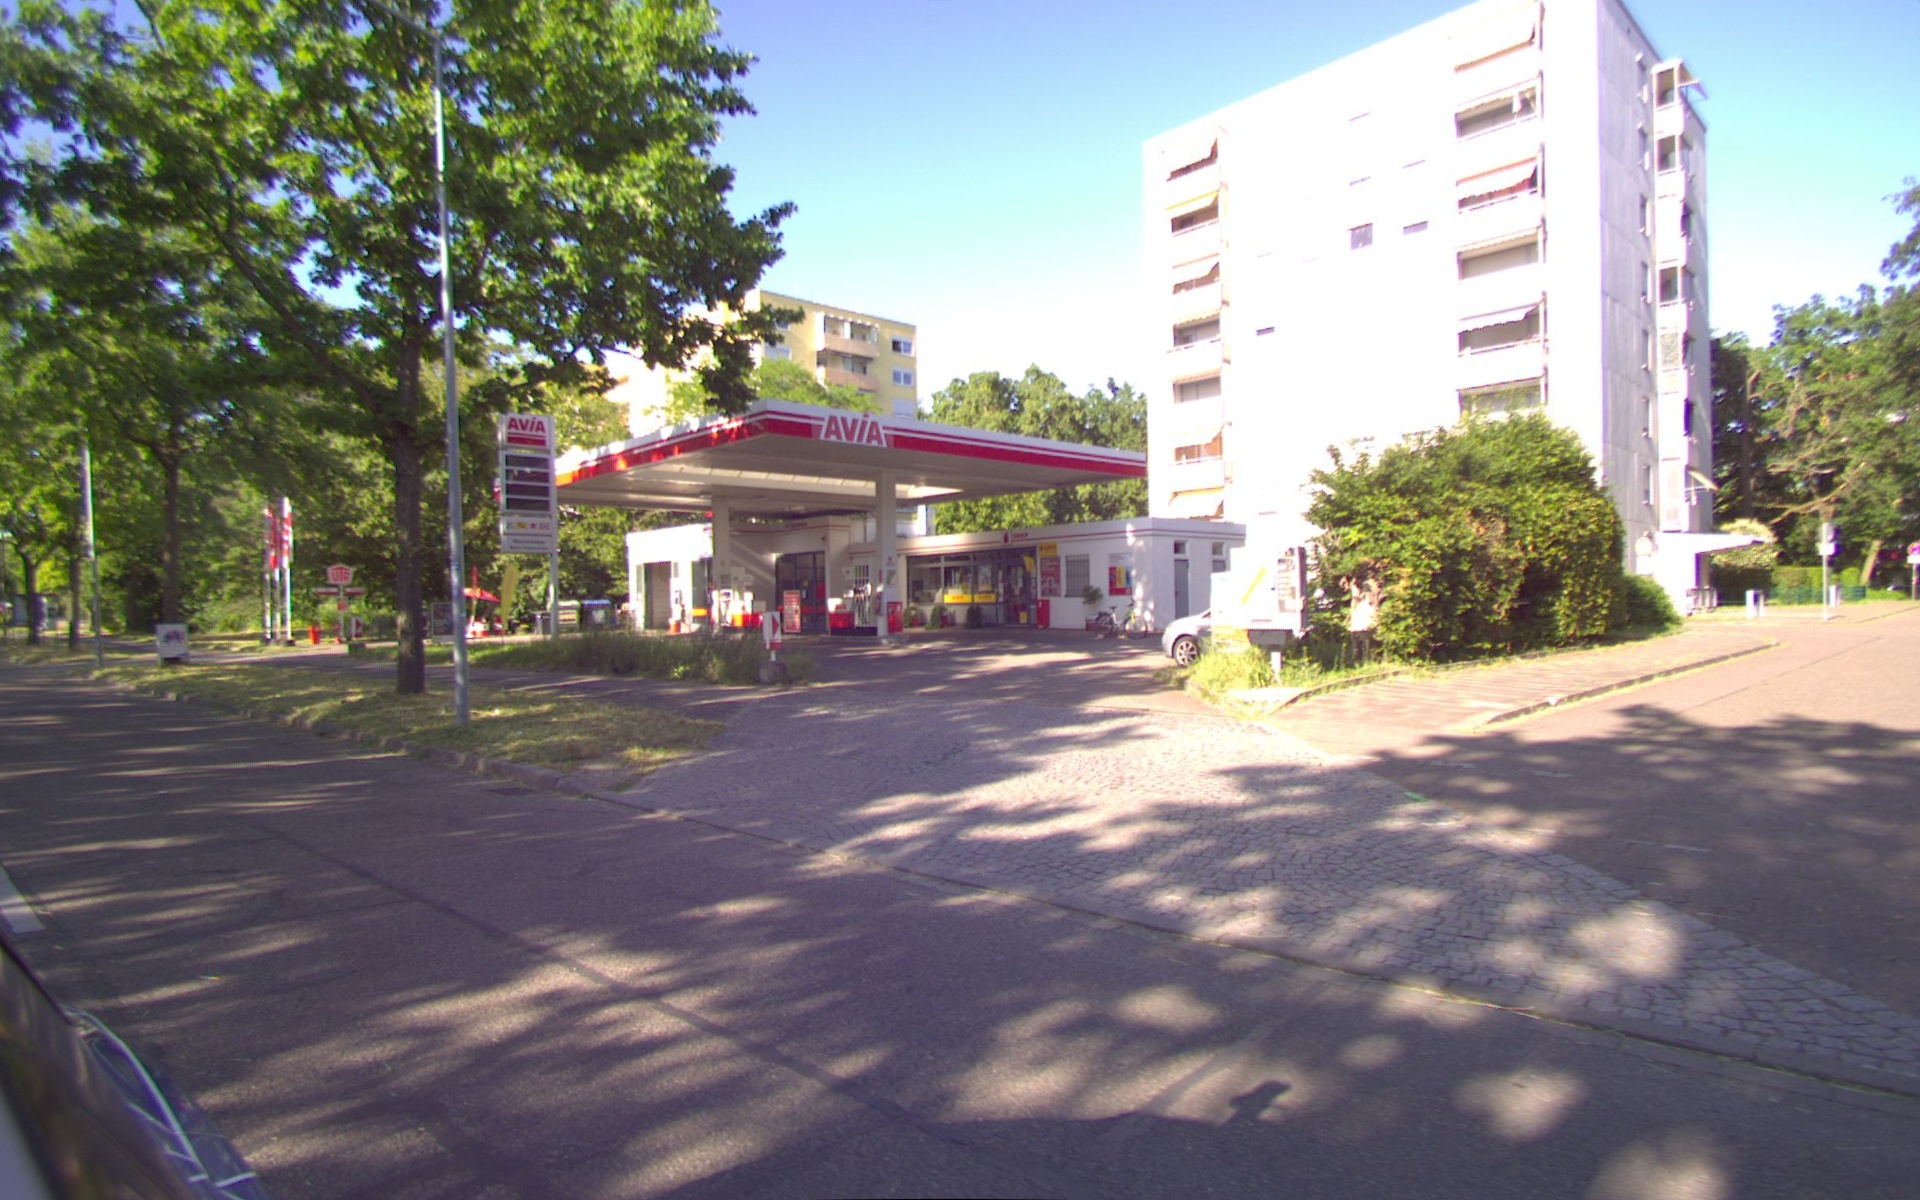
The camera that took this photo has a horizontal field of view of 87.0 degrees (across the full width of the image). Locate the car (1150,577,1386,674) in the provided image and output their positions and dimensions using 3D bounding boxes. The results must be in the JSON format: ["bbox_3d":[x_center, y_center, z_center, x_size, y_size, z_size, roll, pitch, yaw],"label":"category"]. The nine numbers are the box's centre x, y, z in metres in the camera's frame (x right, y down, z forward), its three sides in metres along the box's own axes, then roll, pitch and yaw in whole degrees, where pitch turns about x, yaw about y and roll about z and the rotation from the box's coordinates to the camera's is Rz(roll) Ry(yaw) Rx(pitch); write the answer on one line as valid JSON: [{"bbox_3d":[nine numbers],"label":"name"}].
[{"bbox_3d":[5.114,0.406,17.114,1.527,1.433,3.492,-3,1,-41],"label":"car"}]

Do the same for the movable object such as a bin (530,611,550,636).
[{"bbox_3d":[-18.753,1.030,45.180,0.768,1.094,0.562,-2,-1,42],"label":"movable object such as a bin"}]

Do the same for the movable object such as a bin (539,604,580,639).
[{"bbox_3d":[-18.182,0.965,45.987,1.267,1.553,1.290,-2,-1,42],"label":"movable object such as a bin"}]

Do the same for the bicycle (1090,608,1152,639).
[{"bbox_3d":[4.434,0.649,27.948,0.609,0.813,1.784,-1,0,-34],"label":"bicycle"}]

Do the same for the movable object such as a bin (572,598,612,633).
[{"bbox_3d":[-17.111,0.736,47.058,1.163,1.553,1.290,-2,1,42],"label":"movable object such as a bin"}]
